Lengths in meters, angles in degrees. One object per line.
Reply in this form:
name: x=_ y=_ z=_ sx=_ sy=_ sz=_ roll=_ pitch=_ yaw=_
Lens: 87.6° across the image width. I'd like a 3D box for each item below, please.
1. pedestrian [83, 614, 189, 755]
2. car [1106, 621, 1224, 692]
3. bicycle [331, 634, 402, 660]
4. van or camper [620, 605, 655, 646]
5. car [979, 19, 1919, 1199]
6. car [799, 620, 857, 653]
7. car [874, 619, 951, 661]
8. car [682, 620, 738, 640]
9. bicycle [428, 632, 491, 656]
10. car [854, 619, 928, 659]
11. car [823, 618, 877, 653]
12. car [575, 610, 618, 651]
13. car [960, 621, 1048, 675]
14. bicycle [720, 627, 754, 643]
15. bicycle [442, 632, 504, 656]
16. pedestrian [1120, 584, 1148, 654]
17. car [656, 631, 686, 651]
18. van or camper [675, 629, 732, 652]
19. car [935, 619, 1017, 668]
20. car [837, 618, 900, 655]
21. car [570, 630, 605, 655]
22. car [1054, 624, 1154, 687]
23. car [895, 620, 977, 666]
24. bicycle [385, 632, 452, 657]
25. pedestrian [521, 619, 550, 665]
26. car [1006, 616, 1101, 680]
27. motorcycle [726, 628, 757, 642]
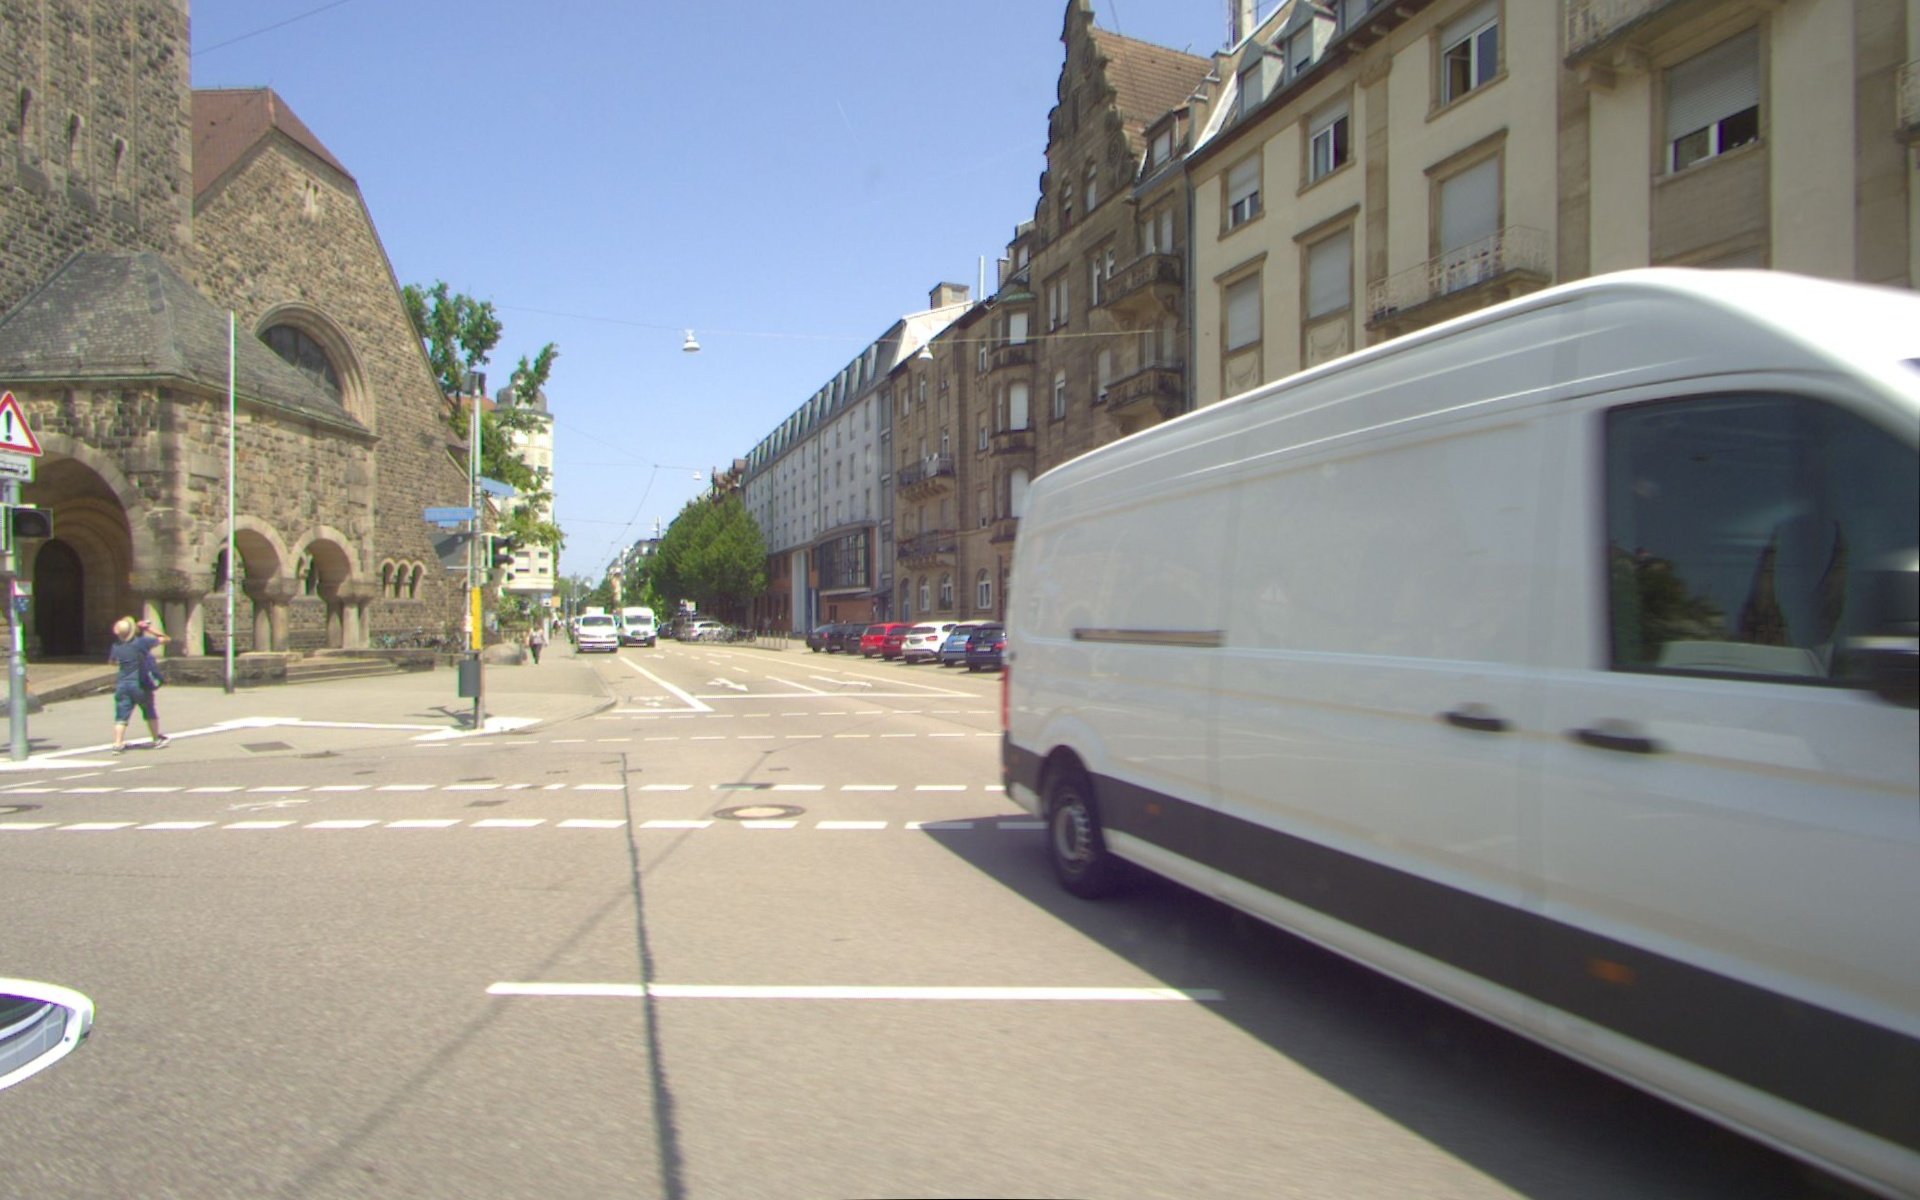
pedestrian: x=-11.159 y=1.132 z=13.577 sx=0.817 sy=1.845 sz=0.745 roll=-1 pitch=-1 yaw=10
car: x=4.972 y=1.328 z=24.020 sx=1.596 sy=1.497 sz=3.206 roll=-4 pitch=-2 yaw=35
bicycle: x=-23.389 y=1.854 z=39.483 sx=2.450 sy=1.024 sz=0.706 roll=0 pitch=0 yaw=4
van or camper: x=-20.700 y=1.643 z=64.146 sx=2.038 sy=2.493 sz=5.890 roll=0 pitch=-1 yaw=-19
car: x=2.189 y=0.251 z=4.063 sx=2.042 sy=2.671 sz=6.618 roll=0 pitch=-1 yaw=-19
car: x=-6.870 y=1.886 z=52.516 sx=1.590 sy=1.595 sz=3.219 roll=-3 pitch=-2 yaw=22
car: x=-1.927 y=1.644 z=41.459 sx=1.595 sy=1.595 sz=3.209 roll=-4 pitch=-2 yaw=33
car: x=-19.604 y=2.366 z=78.682 sx=1.732 sy=1.568 sz=3.964 roll=-2 pitch=-3 yaw=44
bicycle: x=-21.731 y=1.926 z=43.513 sx=2.450 sy=1.024 sz=0.706 roll=0 pitch=0 yaw=4
car: x=-3.012 y=1.695 z=44.188 sx=1.595 sy=1.595 sz=3.209 roll=-4 pitch=-2 yaw=33
car: x=-5.465 y=1.756 z=50.061 sx=1.470 sy=1.595 sz=3.222 roll=-3 pitch=-2 yaw=18
car: x=-18.901 y=1.581 z=52.112 sx=2.010 sy=2.030 sz=4.957 roll=0 pitch=-2 yaw=-20
car: x=1.476 y=1.534 z=32.873 sx=1.593 sy=1.595 sz=3.213 roll=-3 pitch=-2 yaw=28
bicycle: x=-16.777 y=2.618 z=75.355 sx=2.574 sy=1.189 sz=0.676 roll=2 pitch=-3 yaw=-45
bicycle: x=-21.718 y=1.952 z=44.665 sx=2.450 sy=1.024 sz=0.706 roll=0 pitch=0 yaw=4
pedestrian: x=5.404 y=0.603 z=31.167 sx=0.850 sy=2.141 sz=1.101 roll=0 pitch=-1 yaw=9
car: x=-26.792 y=3.744 z=92.750 sx=1.931 sy=1.772 sz=3.982 roll=0 pitch=-1 yaw=-29
van or camper: x=-21.308 y=3.370 z=83.270 sx=1.978 sy=1.861 sz=4.292 roll=-1 pitch=-2 yaw=41
car: x=0.627 y=1.534 z=36.089 sx=1.593 sy=1.595 sz=3.213 roll=-3 pitch=-2 yaw=28
car: x=-4.311 y=1.728 z=47.601 sx=1.591 sy=1.595 sz=3.217 roll=-3 pitch=-2 yaw=24
car: x=-26.556 y=3.019 z=71.483 sx=1.964 sy=1.749 sz=3.996 roll=0 pitch=-2 yaw=-15
car: x=3.918 y=1.459 z=26.930 sx=1.593 sy=1.497 sz=3.213 roll=-3 pitch=-2 yaw=28
car: x=-0.881 y=1.620 z=38.543 sx=1.595 sy=1.595 sz=3.209 roll=-4 pitch=-2 yaw=33
bicycle: x=-22.350 y=1.824 z=41.358 sx=2.450 sy=1.024 sz=0.706 roll=0 pitch=0 yaw=4
pedestrian: x=-14.843 y=1.456 z=35.017 sx=0.707 sy=1.578 sz=0.792 roll=0 pitch=-2 yaw=-4
car: x=2.792 y=1.371 z=29.409 sx=1.593 sy=1.686 sz=3.213 roll=-3 pitch=-2 yaw=28
motorcycle: x=-15.168 y=2.436 z=69.612 sx=2.037 sy=0.971 sz=0.742 roll=-1 pitch=1 yaw=-5
